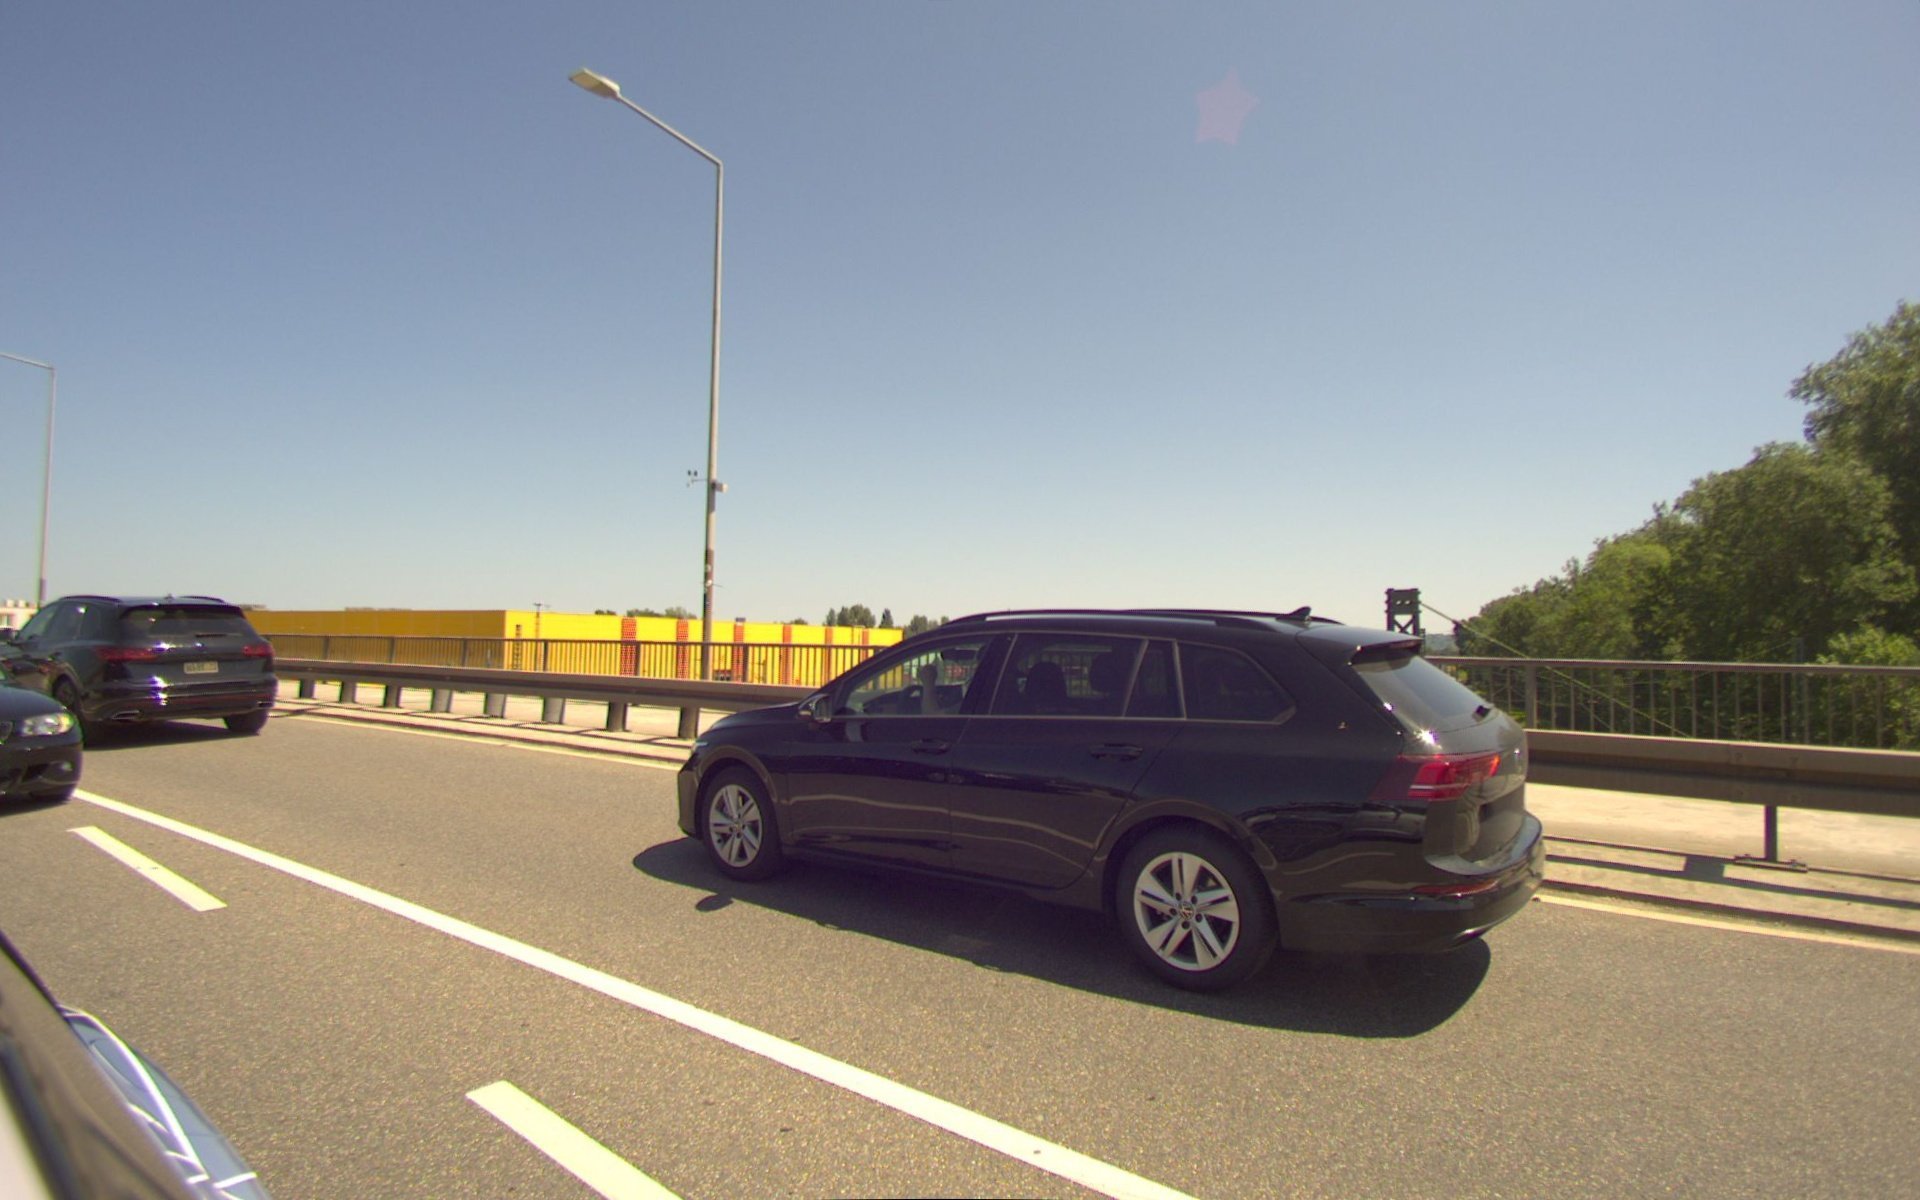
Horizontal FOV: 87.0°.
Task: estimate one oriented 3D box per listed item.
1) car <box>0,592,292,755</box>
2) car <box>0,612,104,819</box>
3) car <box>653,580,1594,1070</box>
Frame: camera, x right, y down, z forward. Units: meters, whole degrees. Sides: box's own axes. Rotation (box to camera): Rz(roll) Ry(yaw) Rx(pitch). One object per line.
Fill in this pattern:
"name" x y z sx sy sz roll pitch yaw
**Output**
"car" -10.437 0.798 12.618 4.602 1.686 1.949 -1 -1 35
"car" -8.820 0.840 8.228 4.513 1.466 1.774 -1 -1 35
"car" 0.494 0.722 5.123 4.453 1.480 1.694 -1 -1 38
